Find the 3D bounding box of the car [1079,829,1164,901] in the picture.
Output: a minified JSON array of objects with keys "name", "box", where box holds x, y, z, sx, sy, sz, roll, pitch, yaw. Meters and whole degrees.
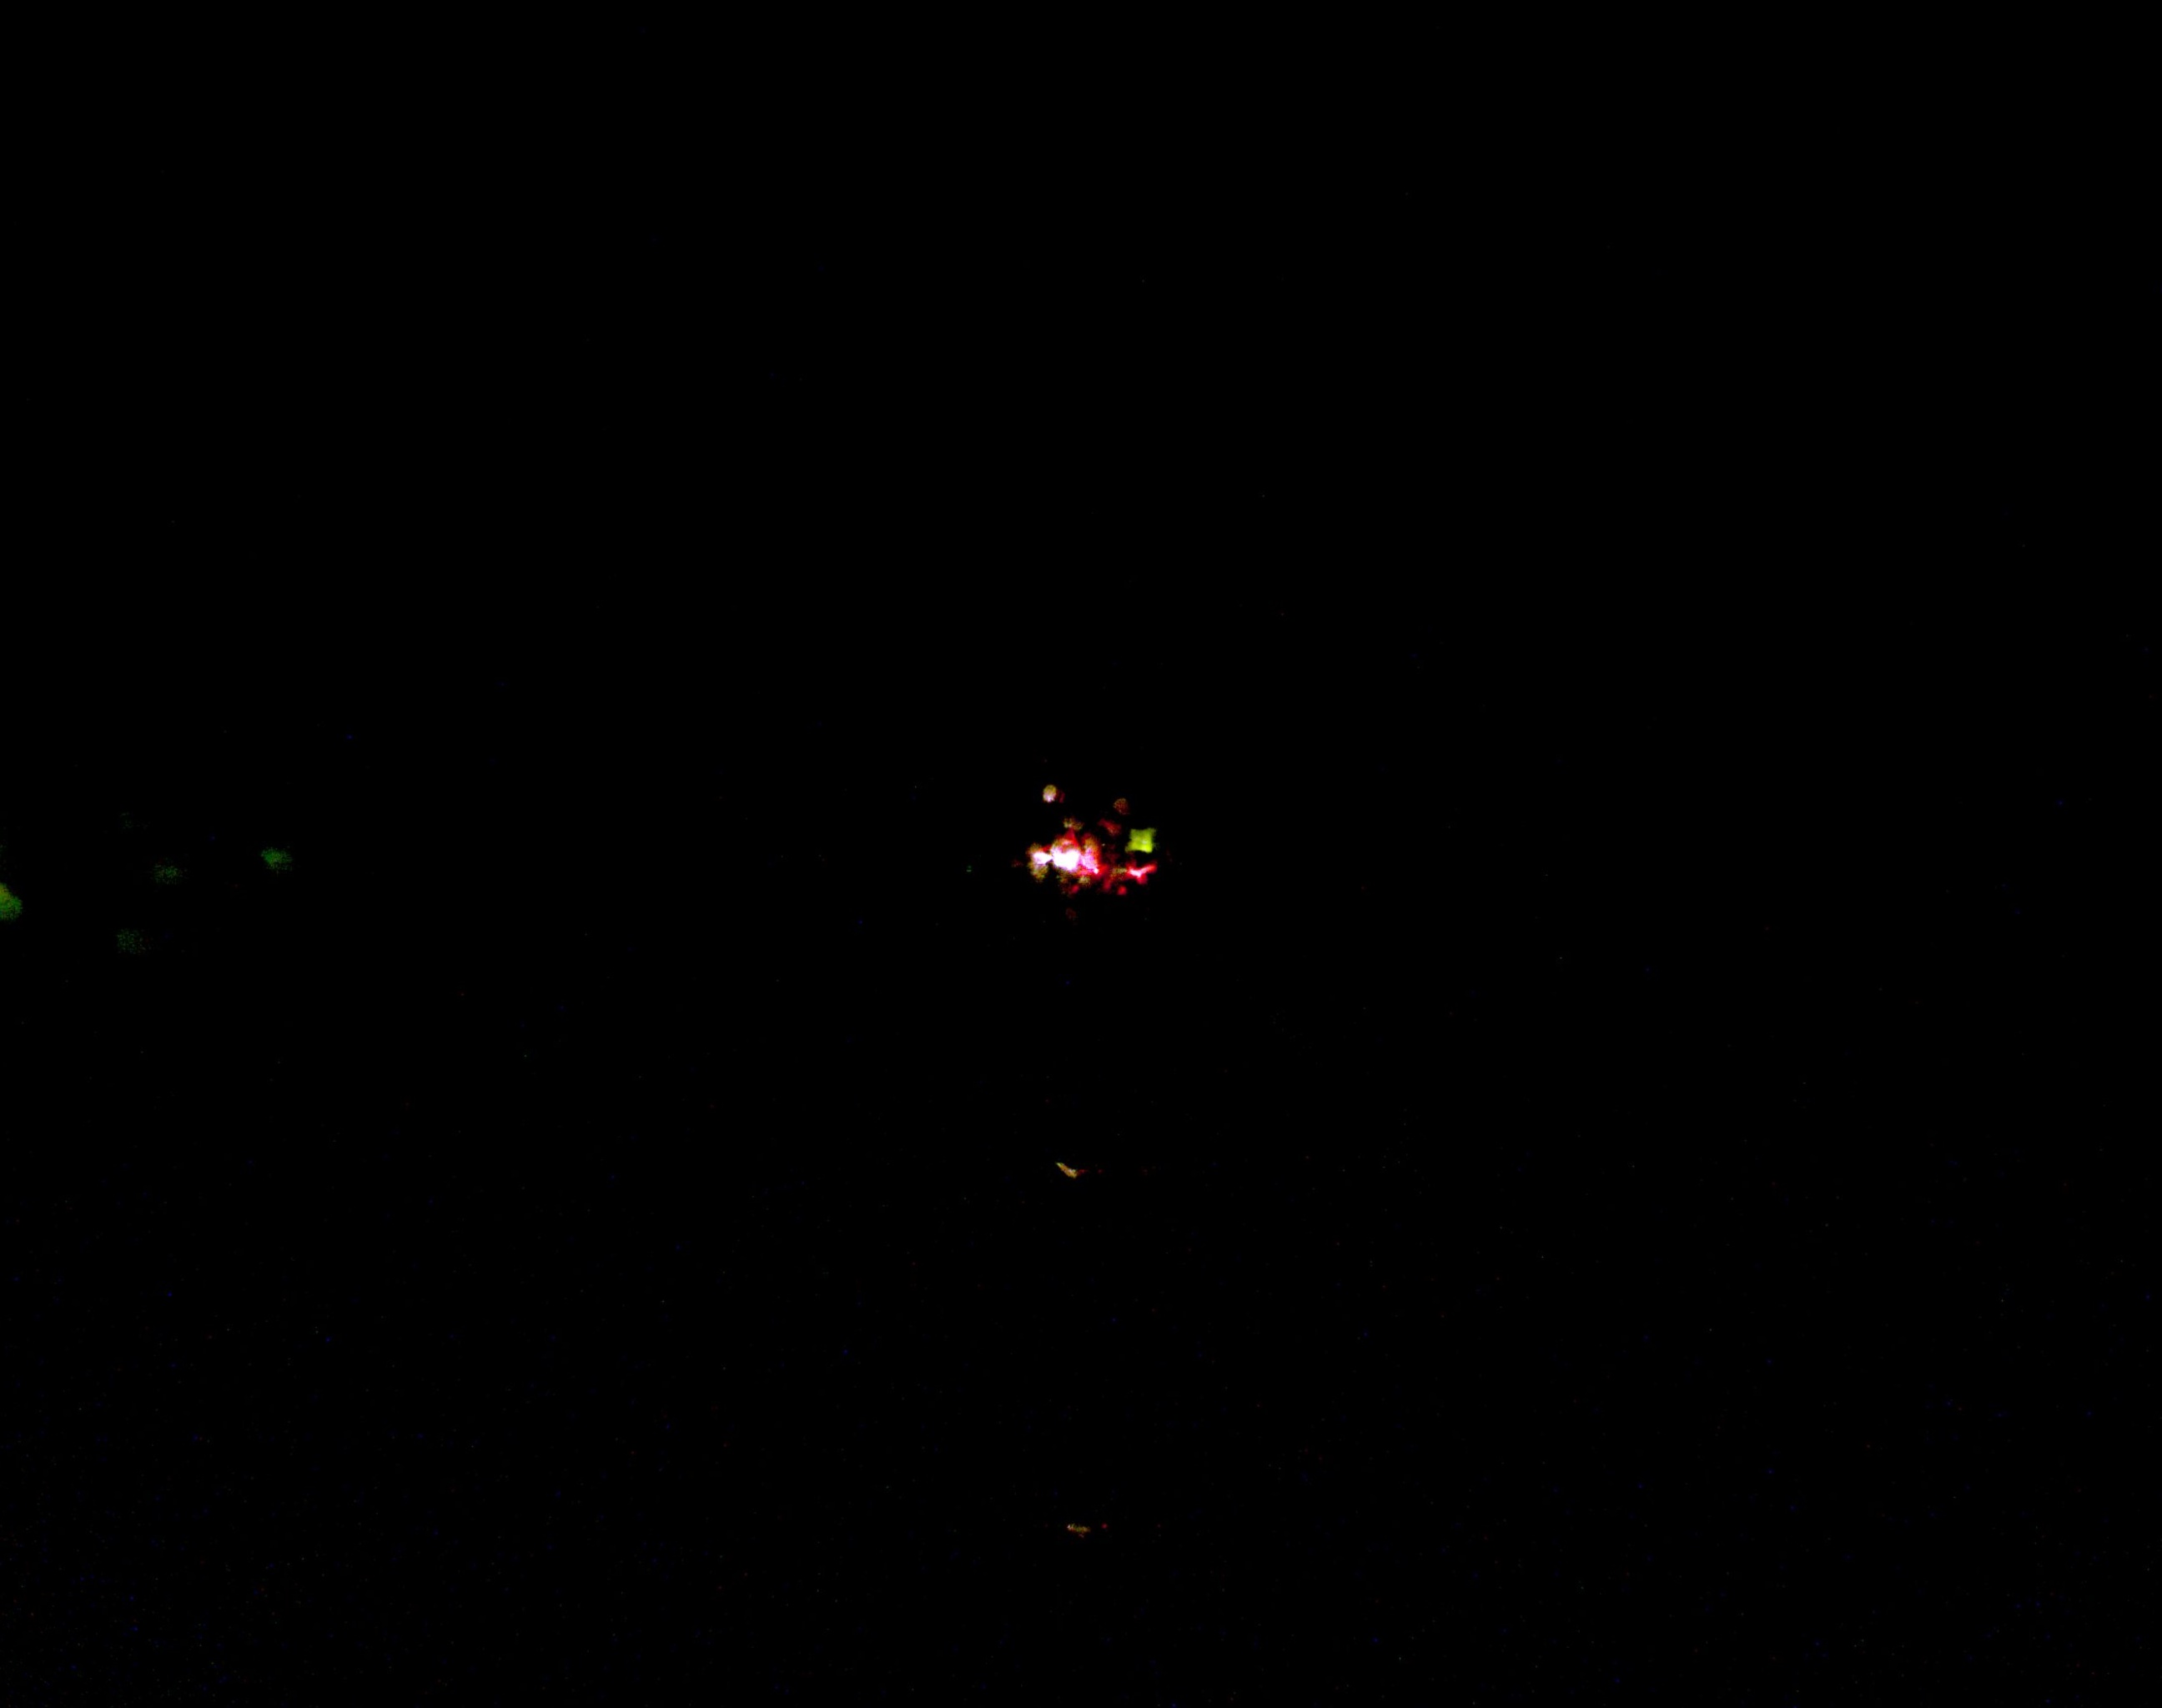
[{"name":"car","box":[1.426,0.346,29.811,2.705,2.307,6.103,-2,0,2]}]
